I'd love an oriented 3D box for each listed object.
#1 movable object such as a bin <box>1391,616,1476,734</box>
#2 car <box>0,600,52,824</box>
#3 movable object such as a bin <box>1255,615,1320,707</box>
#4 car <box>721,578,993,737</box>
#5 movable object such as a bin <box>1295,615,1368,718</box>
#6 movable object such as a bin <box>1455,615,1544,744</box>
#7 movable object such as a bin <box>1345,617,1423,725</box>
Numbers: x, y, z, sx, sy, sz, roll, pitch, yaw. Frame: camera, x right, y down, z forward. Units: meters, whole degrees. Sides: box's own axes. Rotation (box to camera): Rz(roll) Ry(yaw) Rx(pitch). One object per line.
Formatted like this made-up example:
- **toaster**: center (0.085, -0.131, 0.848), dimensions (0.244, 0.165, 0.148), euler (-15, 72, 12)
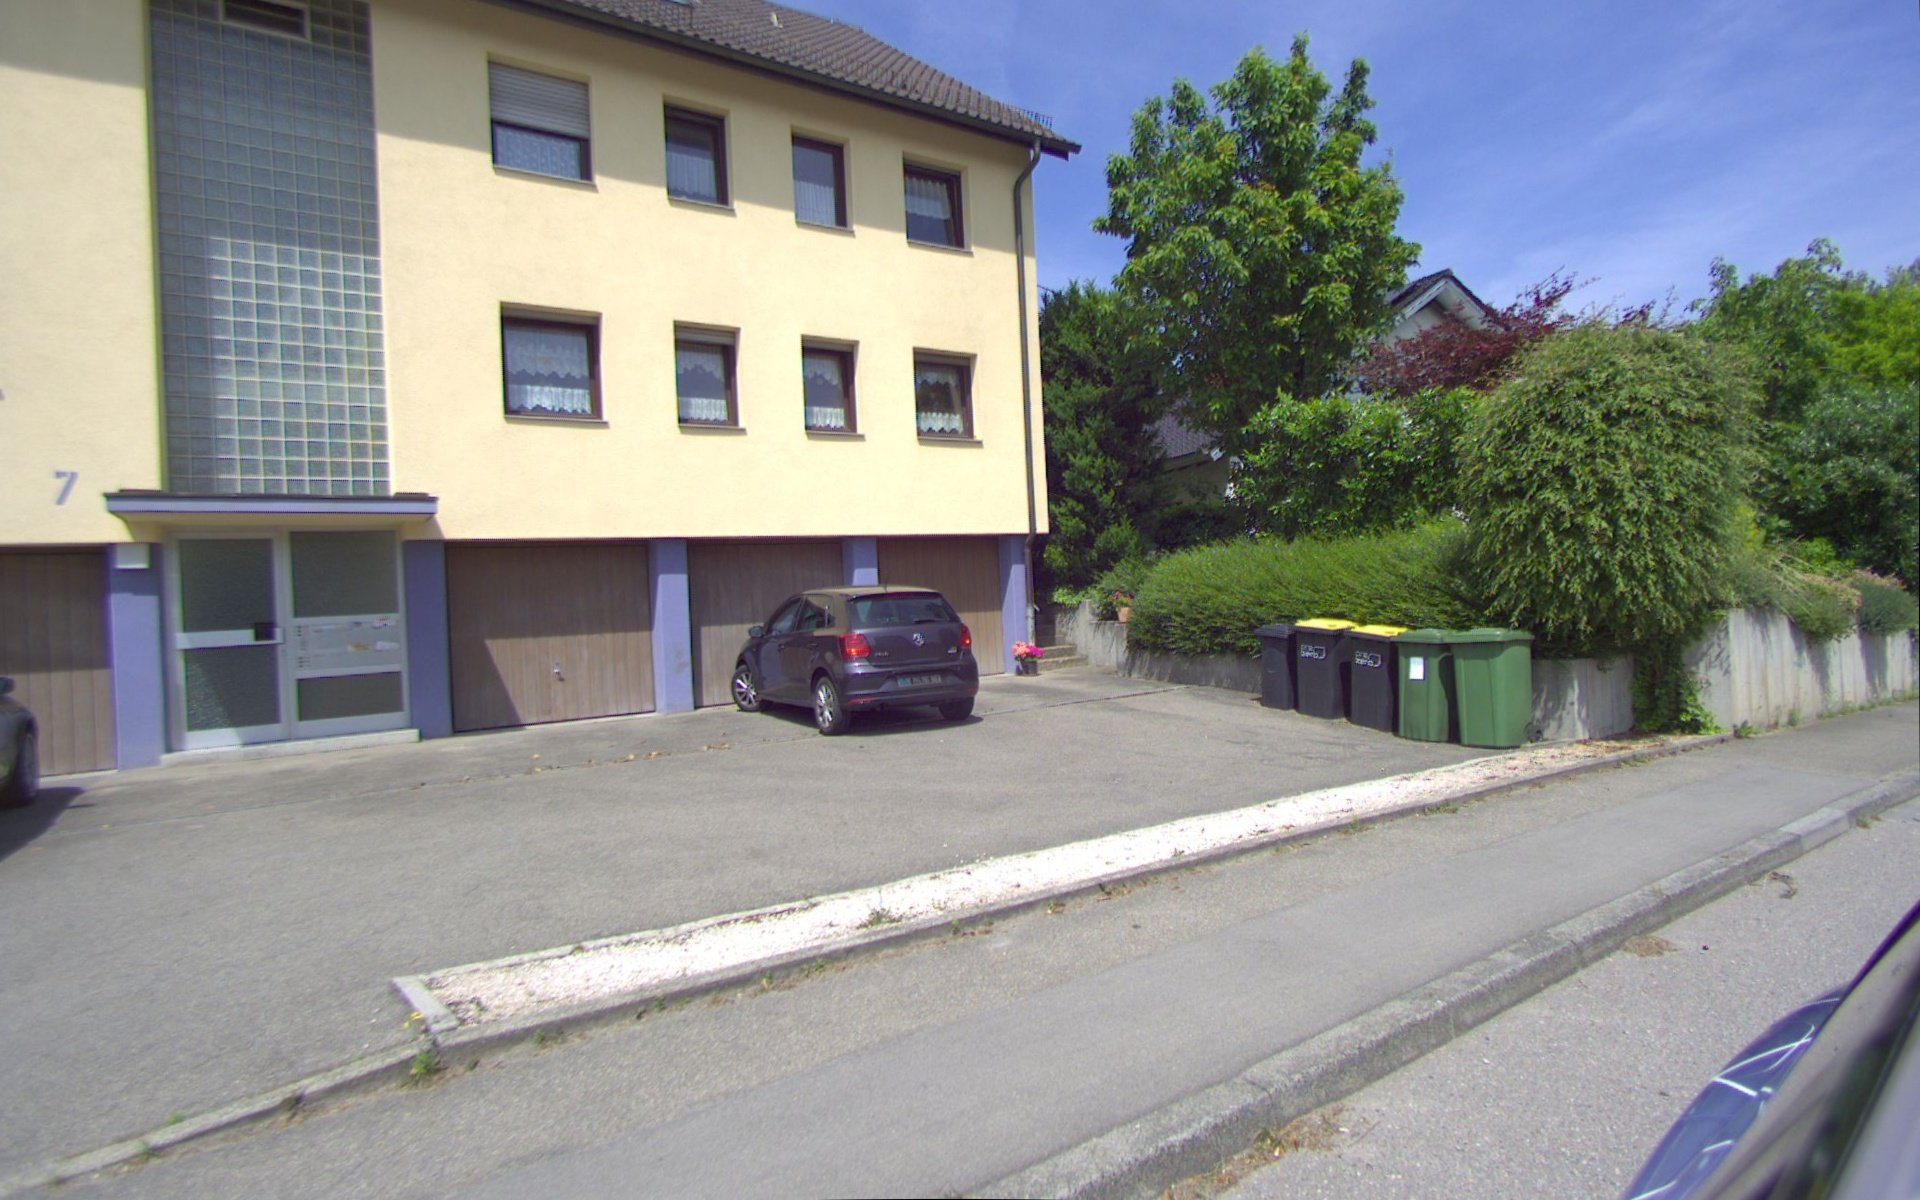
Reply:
- **movable object such as a bin**: center (4.571, 0.704, 9.771), dimensions (0.553, 1.084, 0.486), euler (0, -1, -29)
- **car**: center (-7.278, 0.816, 6.178), dimensions (1.873, 1.583, 4.714), euler (-3, 0, -34)
- **movable object such as a bin**: center (3.659, 0.670, 11.321), dimensions (0.505, 0.967, 0.451), euler (0, 2, -32)
- **car**: center (-1.312, 0.555, 11.348), dimensions (1.612, 1.436, 3.695), euler (-2, 0, -30)
- **movable object such as a bin**: center (3.984, 0.699, 10.859), dimensions (0.553, 1.034, 0.486), euler (0, 1, -29)
- **movable object such as a bin**: center (4.923, 0.703, 9.240), dimensions (0.553, 1.121, 0.486), euler (0, -1, -33)
- **movable object such as a bin**: center (4.311, 0.706, 10.302), dimensions (0.553, 1.034, 0.486), euler (0, 1, -29)
